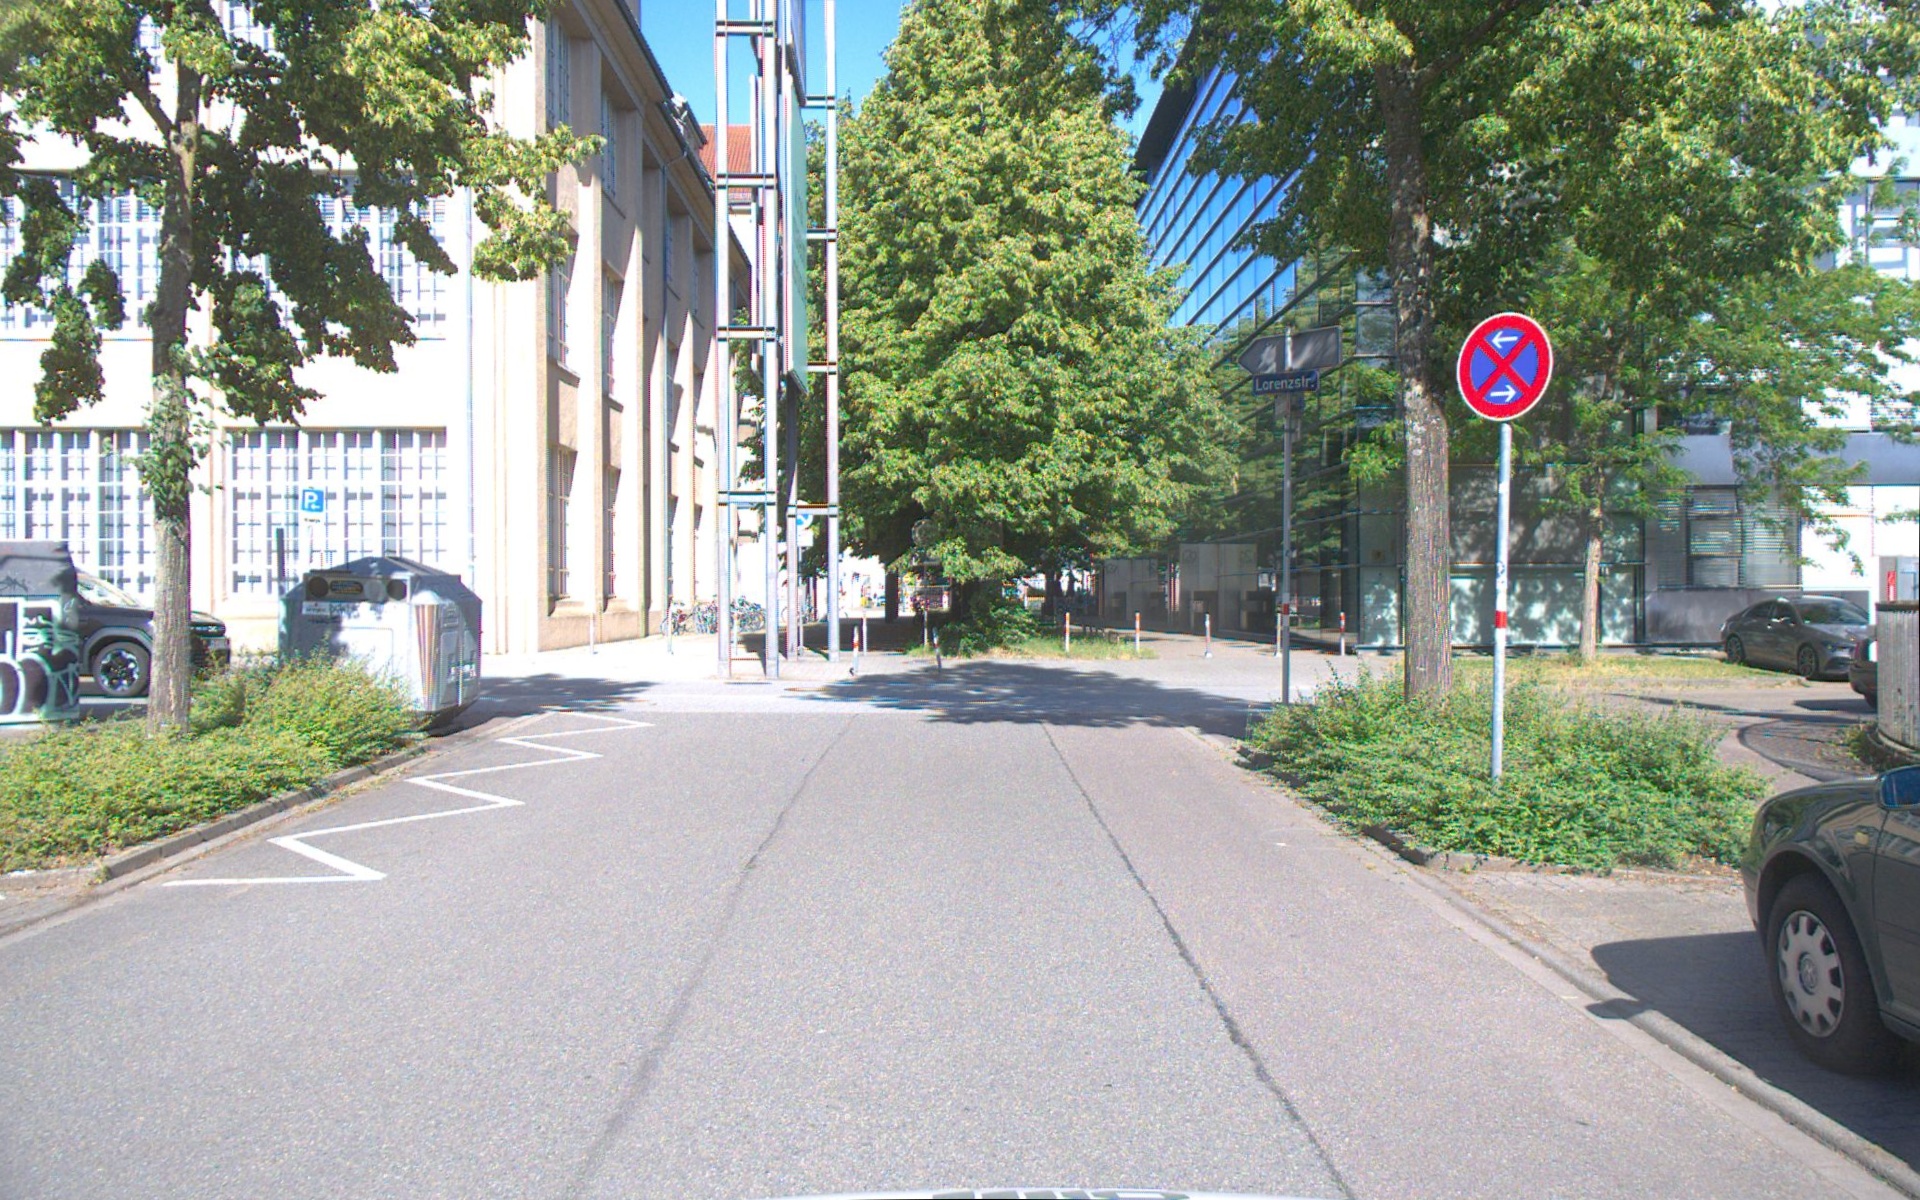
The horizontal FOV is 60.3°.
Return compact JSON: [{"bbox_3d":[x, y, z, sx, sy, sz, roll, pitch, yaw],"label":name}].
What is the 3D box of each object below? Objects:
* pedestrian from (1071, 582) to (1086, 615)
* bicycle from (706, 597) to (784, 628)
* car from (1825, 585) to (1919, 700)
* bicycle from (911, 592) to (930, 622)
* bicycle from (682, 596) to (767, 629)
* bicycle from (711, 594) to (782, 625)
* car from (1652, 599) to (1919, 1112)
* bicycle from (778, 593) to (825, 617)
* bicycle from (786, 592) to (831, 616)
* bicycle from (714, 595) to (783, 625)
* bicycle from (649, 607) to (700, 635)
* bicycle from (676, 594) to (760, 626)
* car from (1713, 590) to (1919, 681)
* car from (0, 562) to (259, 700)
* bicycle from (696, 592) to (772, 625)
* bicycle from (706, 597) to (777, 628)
[{"bbox_3d":[5.689,-0.094,79.334,0.701,1.577,0.690,0,0,5],"label":"pedestrian"},{"bbox_3d":[-7.686,0.455,59.333,2.746,1.081,0.718,0,0,-6],"label":"bicycle"},{"bbox_3d":[13.981,0.569,22.405,3.676,1.498,1.656,0,-1,-2],"label":"car"},{"bbox_3d":[-1.656,0.270,68.851,0.607,1.218,2.129,0,0,-6],"label":"bicycle"},{"bbox_3d":[-7.814,0.402,54.876,2.746,1.081,0.718,0,0,-6],"label":"bicycle"},{"bbox_3d":[-8.248,0.368,63.876,2.678,1.171,0.718,0,0,-6],"label":"bicycle"},{"bbox_3d":[3.584,0.715,4.254,1.711,1.447,4.423,-1,0,0],"label":"car"},{"bbox_3d":[-7.134,0.225,74.485,2.015,1.085,0.507,0,0,1],"label":"bicycle"},{"bbox_3d":[-6.875,0.188,75.166,2.015,1.085,0.507,0,0,1],"label":"bicycle"},{"bbox_3d":[-8.382,0.376,65.728,2.678,1.171,0.718,0,0,-6],"label":"bicycle"},{"bbox_3d":[-8.923,0.658,51.786,0.761,0.806,2.886,0,1,7],"label":"bicycle"},{"bbox_3d":[-8.242,0.325,56.388,2.743,1.081,0.718,0,0,-1],"label":"bicycle"},{"bbox_3d":[16.087,0.602,30.942,1.848,1.373,4.550,0,3,-1],"label":"car"},{"bbox_3d":[-11.700,0.397,21.871,4.005,1.725,2.000,0,0,0],"label":"car"},{"bbox_3d":[-8.386,0.295,61.526,2.746,1.171,0.718,-1,0,-6],"label":"bicycle"},{"bbox_3d":[-8.321,0.473,63.085,2.678,1.171,0.718,0,0,-6],"label":"bicycle"}]
